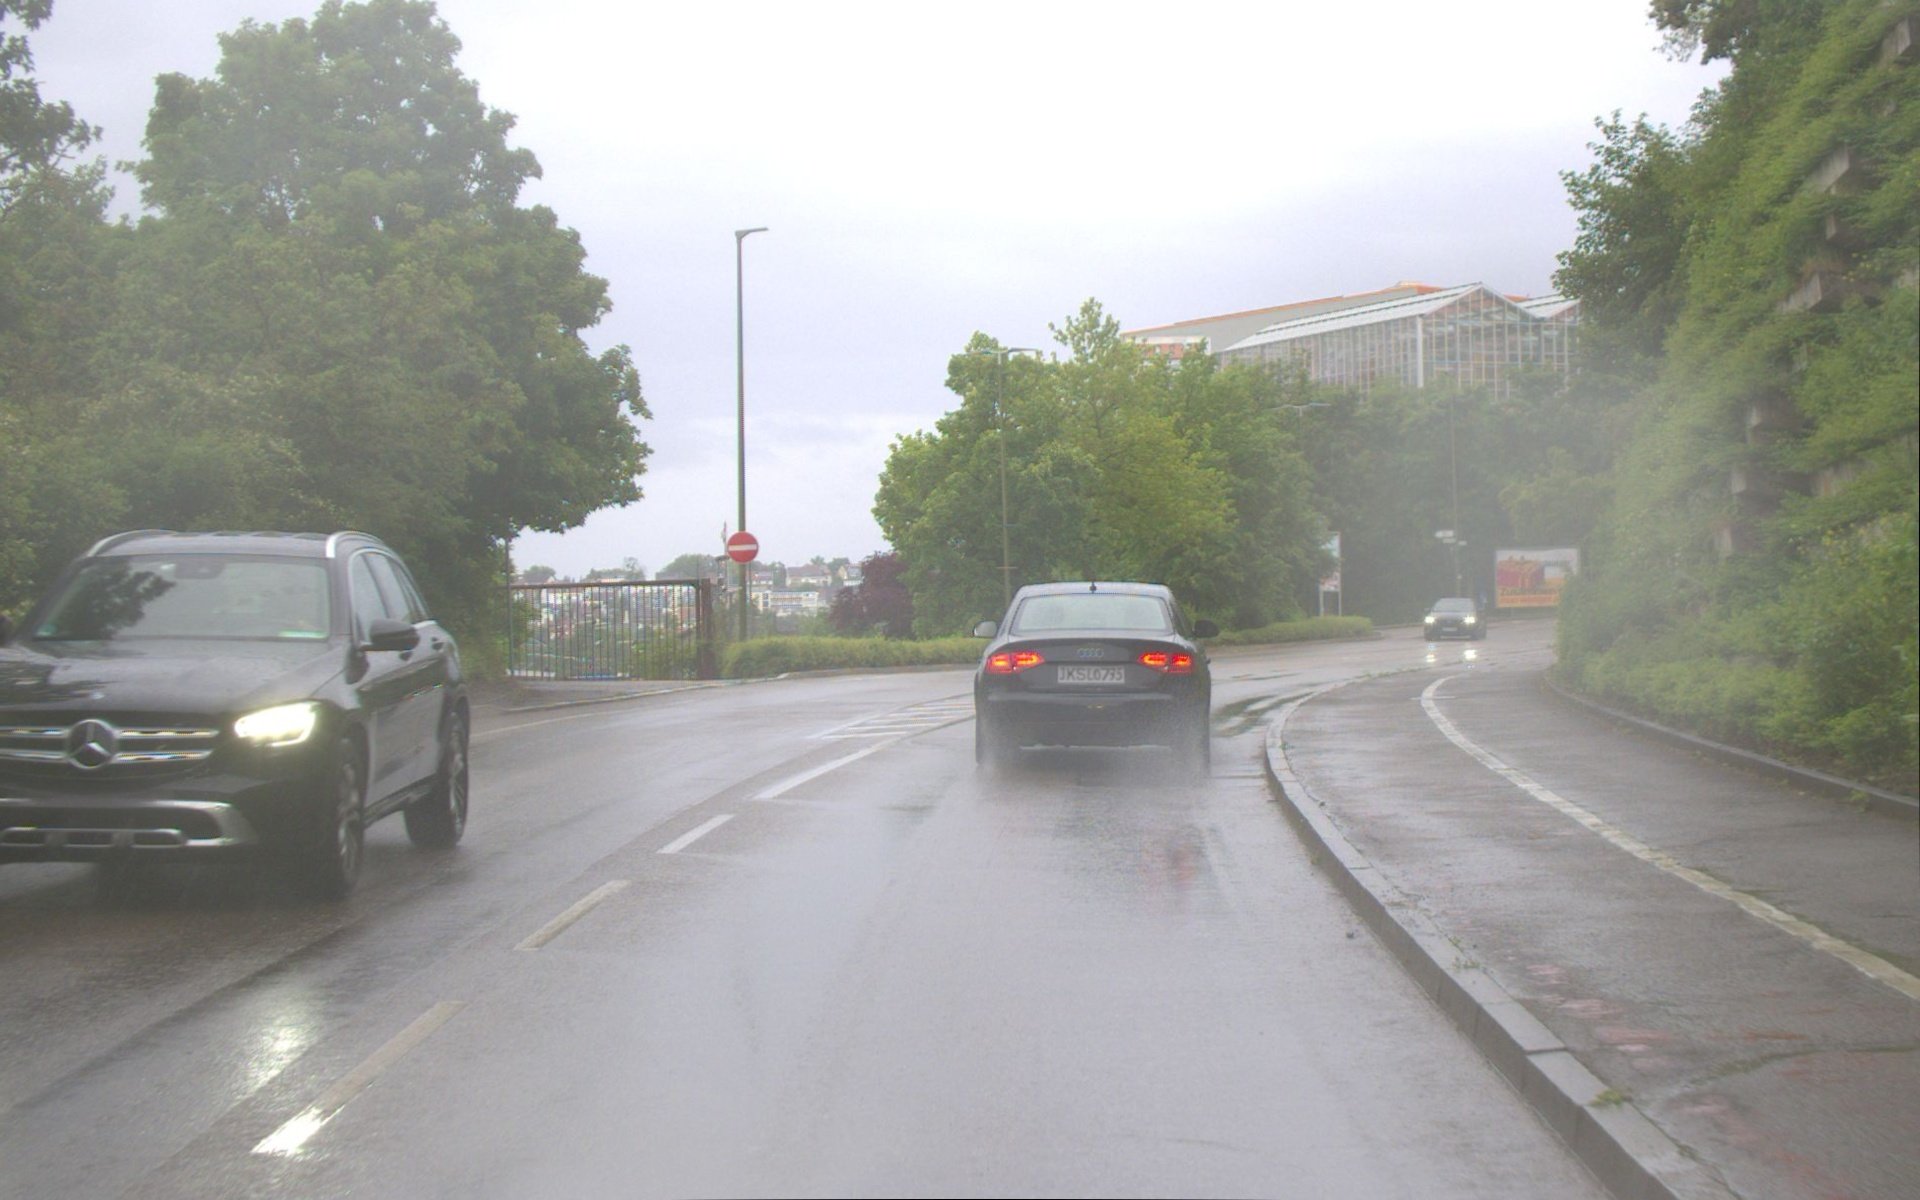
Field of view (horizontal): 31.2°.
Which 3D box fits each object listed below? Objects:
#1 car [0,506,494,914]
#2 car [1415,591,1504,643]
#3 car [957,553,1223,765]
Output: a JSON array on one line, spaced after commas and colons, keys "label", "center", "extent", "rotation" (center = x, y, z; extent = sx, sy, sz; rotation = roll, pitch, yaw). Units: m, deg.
[{"label": "car", "center": [-3.480, 0.422, 16.594], "extent": [1.830, 1.700, 4.333], "rotation": [1, 1, 0]}, {"label": "car", "center": [17.513, 0.598, 120.434], "extent": [1.996, 1.735, 3.995], "rotation": [-1, 0, 25]}, {"label": "car", "center": [1.016, 0.393, 26.863], "extent": [1.893, 1.487, 4.207], "rotation": [1, 1, 2]}]
